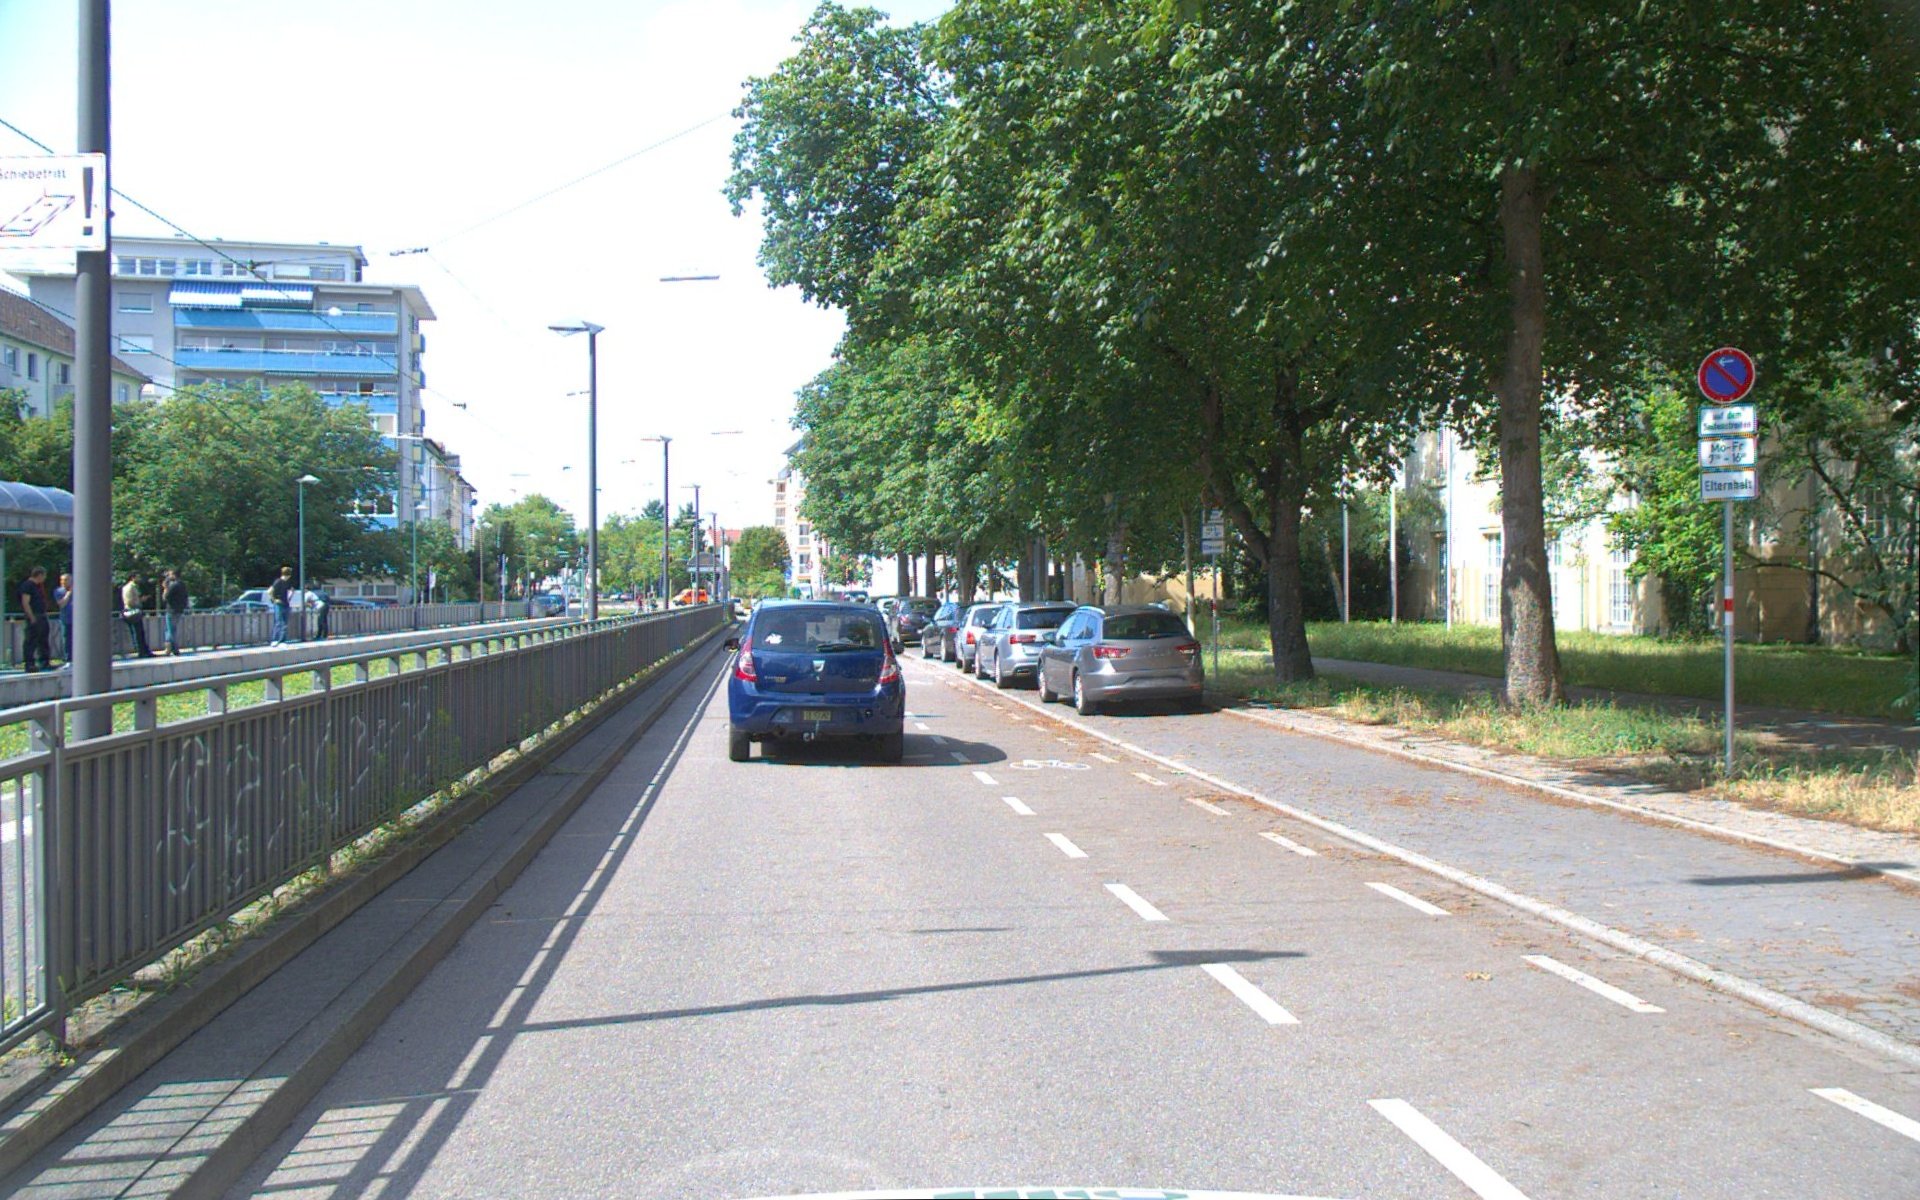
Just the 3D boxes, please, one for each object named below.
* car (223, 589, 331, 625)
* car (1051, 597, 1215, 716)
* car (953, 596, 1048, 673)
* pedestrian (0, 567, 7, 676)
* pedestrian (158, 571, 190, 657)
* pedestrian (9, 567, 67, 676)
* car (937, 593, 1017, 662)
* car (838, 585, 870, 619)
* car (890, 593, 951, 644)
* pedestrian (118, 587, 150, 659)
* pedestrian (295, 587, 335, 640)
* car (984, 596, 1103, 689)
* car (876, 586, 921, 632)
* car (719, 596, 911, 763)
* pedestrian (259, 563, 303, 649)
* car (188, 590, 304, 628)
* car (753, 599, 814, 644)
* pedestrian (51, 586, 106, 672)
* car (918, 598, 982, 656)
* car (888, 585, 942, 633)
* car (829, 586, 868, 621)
[{"bbox_3d":[-29.240,0.277,70.897,3.964,1.472,1.702,-1,0,-41],"label":"car"},{"bbox_3d":[2.370,0.732,23.574,1.823,1.470,3.999,-2,0,-1],"label":"car"},{"bbox_3d":[0.808,0.683,35.451,1.823,1.470,3.999,-2,0,-1],"label":"car"},{"bbox_3d":[-15.814,0.357,26.634,0.581,1.766,0.557,-1,0,-2],"label":"pedestrian"},{"bbox_3d":[-16.222,0.282,34.147,0.480,1.742,0.462,-1,0,-16],"label":"pedestrian"},{"bbox_3d":[-15.433,0.358,27.691,0.591,1.797,0.639,0,0,3],"label":"pedestrian"},{"bbox_3d":[0.368,0.623,40.049,1.814,1.542,3.999,-1,0,-1],"label":"car"},{"bbox_3d":[-5.826,0.083,91.318,1.634,1.803,3.998,-1,0,-2],"label":"car"},{"bbox_3d":[-1.240,0.559,52.531,1.823,1.470,3.999,-2,0,-1],"label":"car"},{"bbox_3d":[-17.134,0.468,34.302,0.480,1.477,0.462,-1,0,-16],"label":"pedestrian"},{"bbox_3d":[-18.602,0.381,47.708,1.014,1.463,0.699,-2,1,-21],"label":"pedestrian"},{"bbox_3d":[1.428,0.703,29.650,1.823,1.470,3.999,-2,0,-1],"label":"car"},{"bbox_3d":[-2.506,0.327,66.647,1.586,1.780,3.995,-1,0,-6],"label":"car"},{"bbox_3d":[-1.496,0.723,16.943,1.734,1.487,3.771,1,0,-6],"label":"car"},{"bbox_3d":[-16.391,0.149,39.916,0.785,2.049,0.662,0,0,-4],"label":"pedestrian"},{"bbox_3d":[-28.342,0.337,65.714,1.608,1.410,3.982,0,0,38],"label":"car"},{"bbox_3d":[-5.726,0.679,54.004,1.666,1.392,3.513,2,0,-2],"label":"car"},{"bbox_3d":[-15.114,0.492,28.351,0.642,1.451,0.562,-1,0,31],"label":"pedestrian"},{"bbox_3d":[-0.297,0.690,44.568,1.586,1.467,3.998,-1,0,-2],"label":"car"},{"bbox_3d":[-1.565,0.285,58.035,1.791,1.564,3.999,-1,0,-1],"label":"car"},{"bbox_3d":[-5.782,0.161,85.913,1.793,1.792,3.999,0,0,-1],"label":"car"}]
